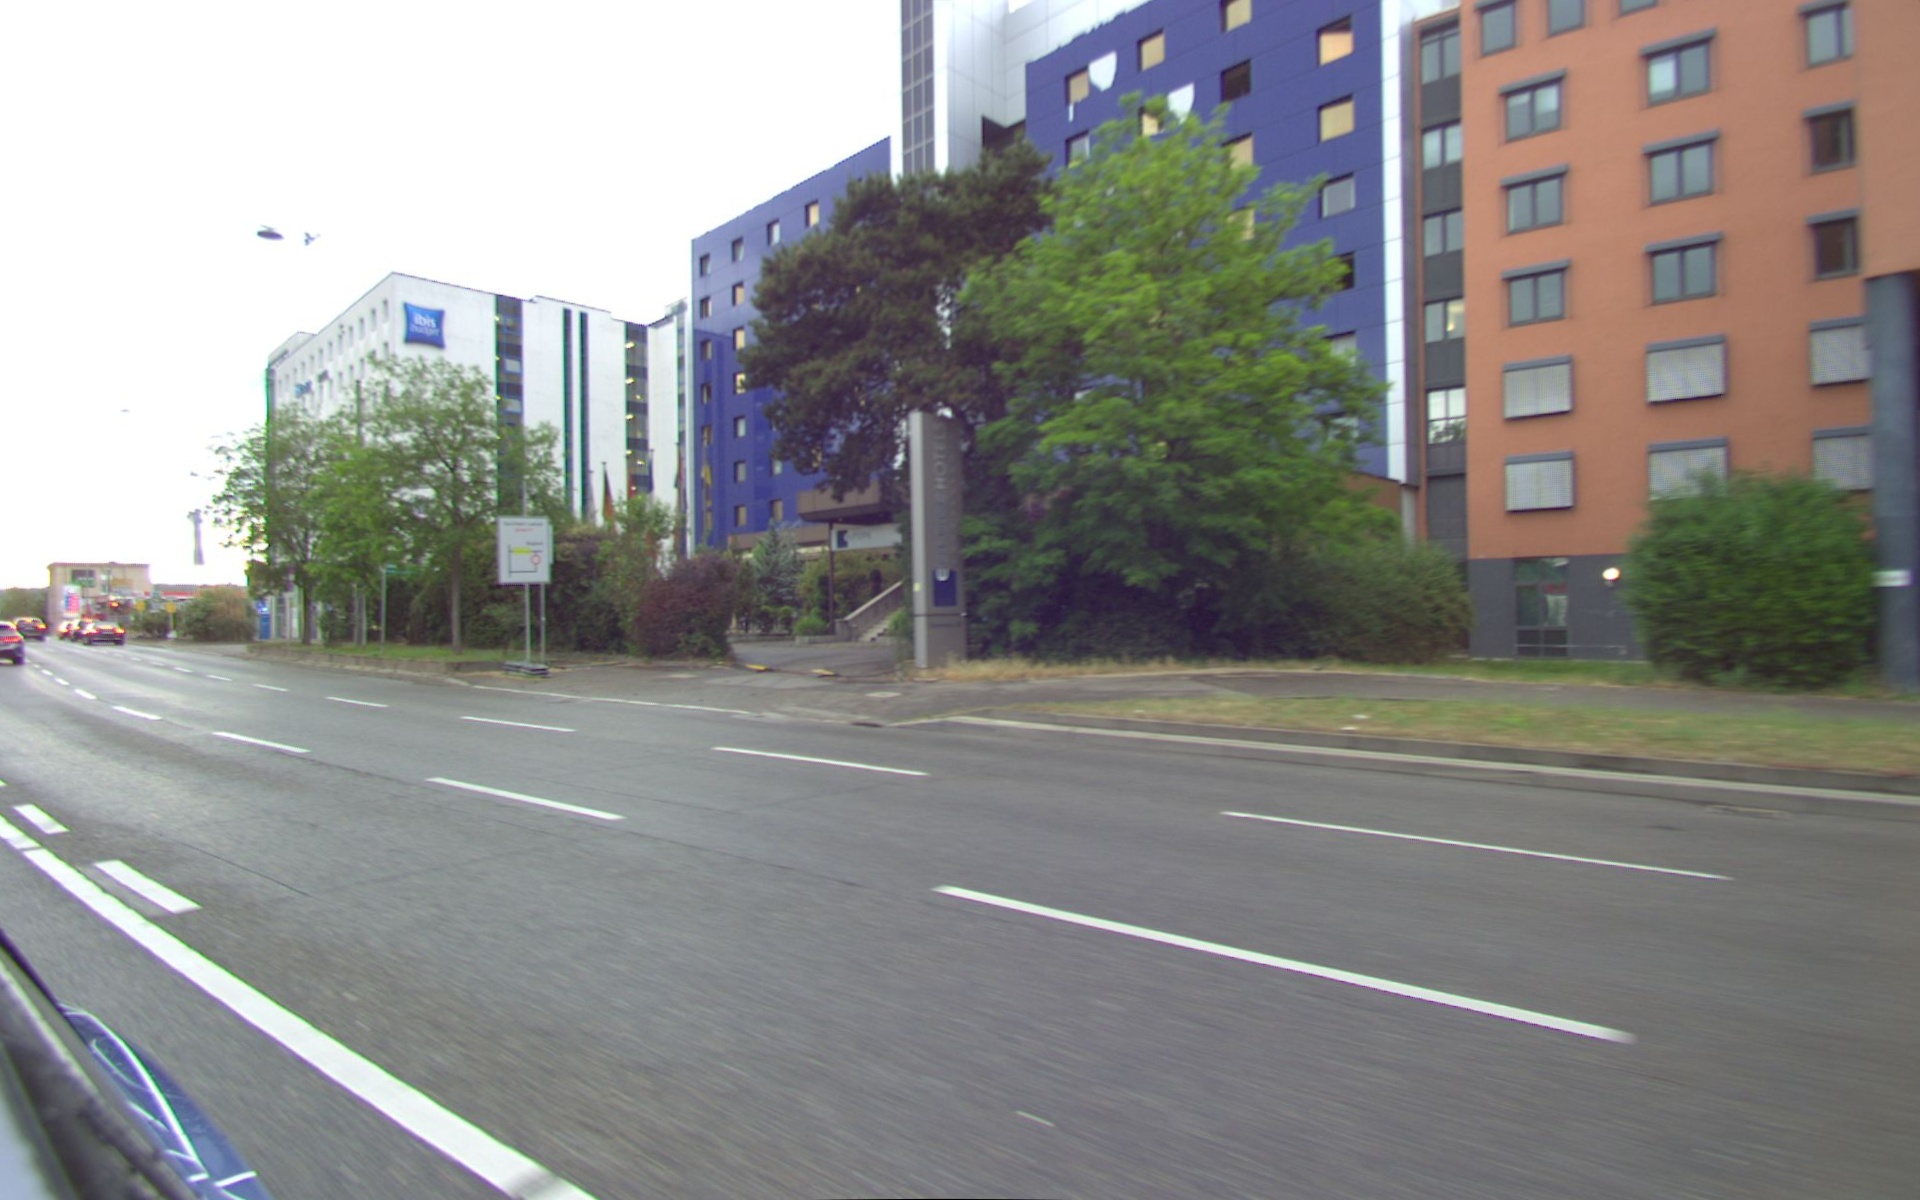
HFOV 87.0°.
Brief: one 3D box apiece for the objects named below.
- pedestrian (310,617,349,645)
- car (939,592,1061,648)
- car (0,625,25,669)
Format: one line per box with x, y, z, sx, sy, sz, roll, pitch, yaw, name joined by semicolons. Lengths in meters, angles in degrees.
-41.613;2.059;66.848;1.965;1.733;1.701;-1;-2;-26;pedestrian
1.370;0.633;33.635;3.940;1.717;1.746;-1;-1;-44;car
-32.633;1.552;33.758;3.998;1.375;1.694;-1;-1;41;car
